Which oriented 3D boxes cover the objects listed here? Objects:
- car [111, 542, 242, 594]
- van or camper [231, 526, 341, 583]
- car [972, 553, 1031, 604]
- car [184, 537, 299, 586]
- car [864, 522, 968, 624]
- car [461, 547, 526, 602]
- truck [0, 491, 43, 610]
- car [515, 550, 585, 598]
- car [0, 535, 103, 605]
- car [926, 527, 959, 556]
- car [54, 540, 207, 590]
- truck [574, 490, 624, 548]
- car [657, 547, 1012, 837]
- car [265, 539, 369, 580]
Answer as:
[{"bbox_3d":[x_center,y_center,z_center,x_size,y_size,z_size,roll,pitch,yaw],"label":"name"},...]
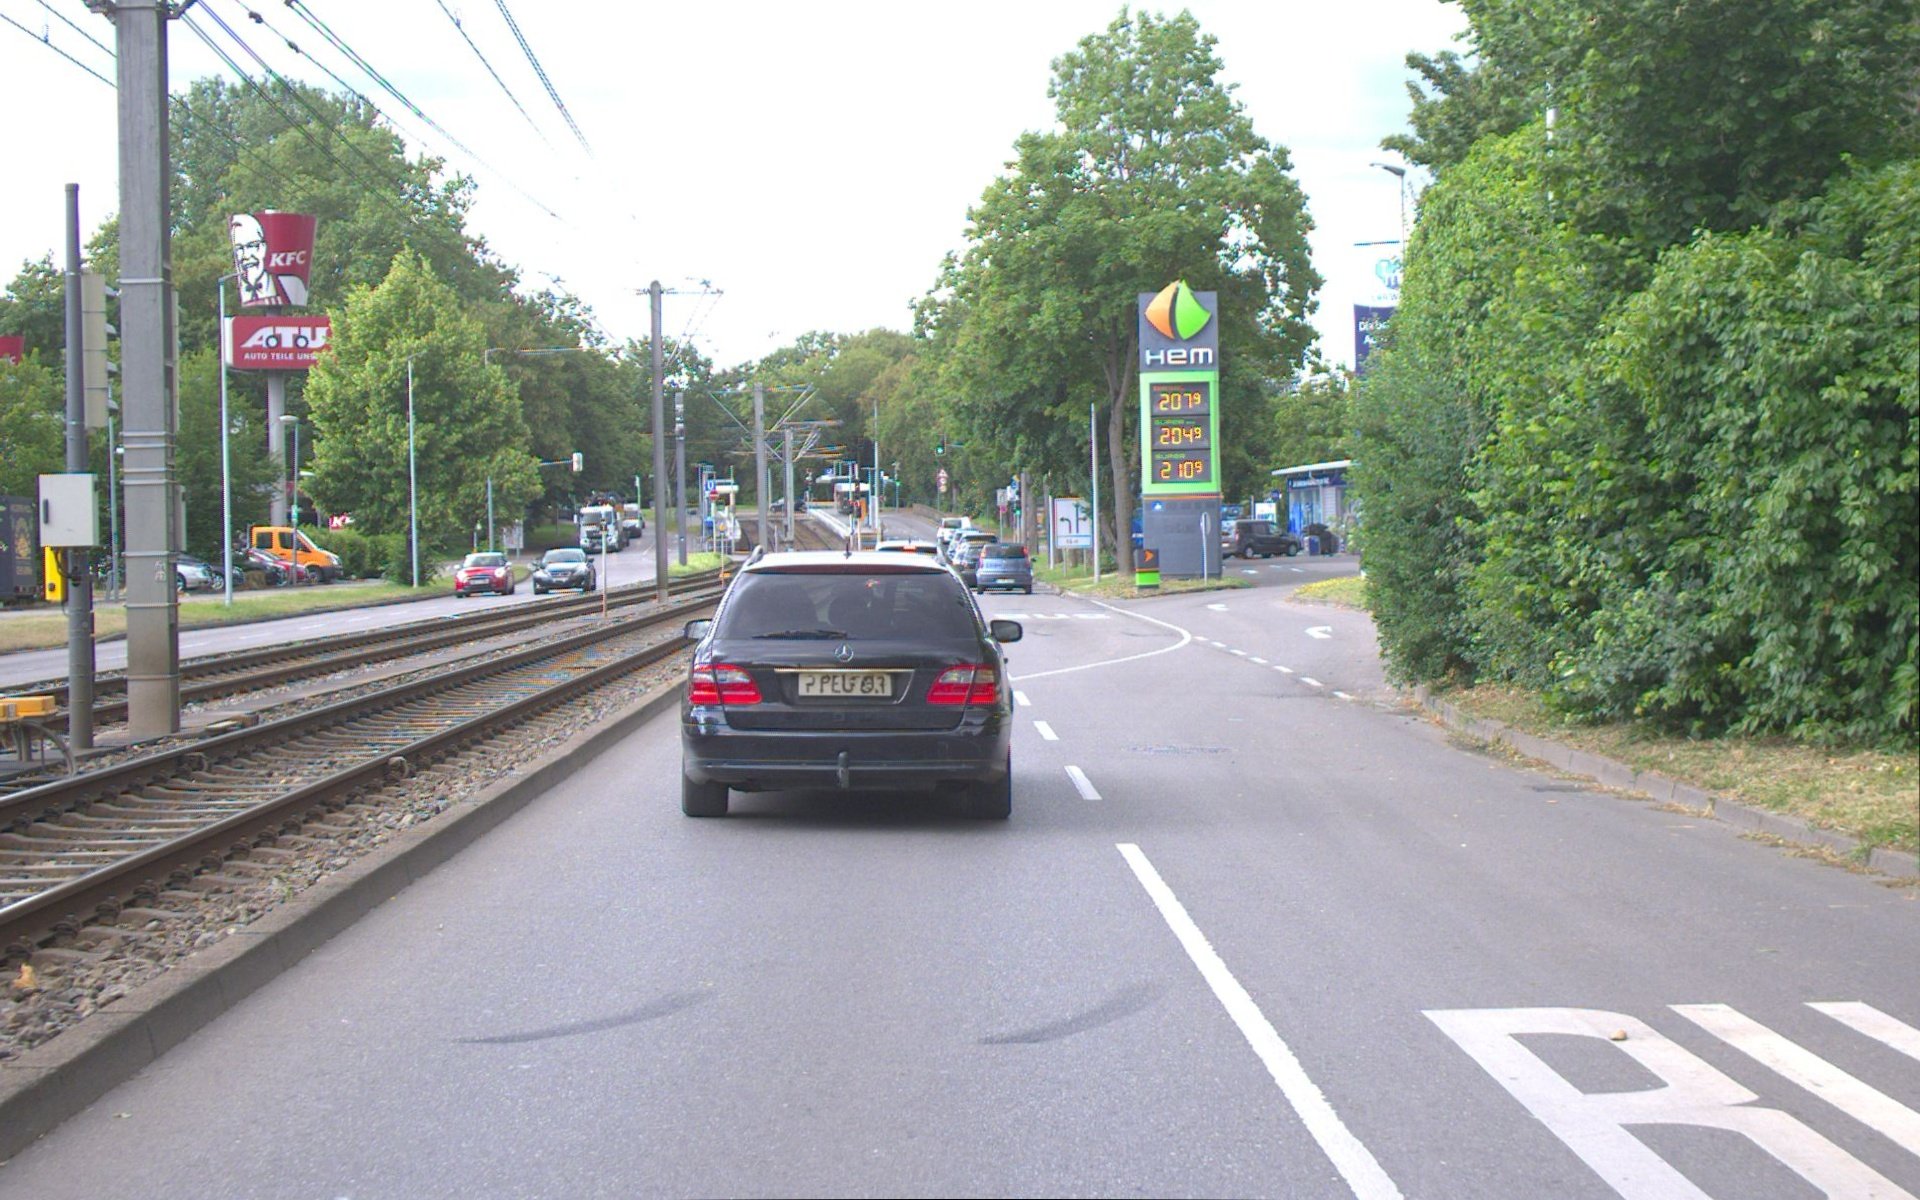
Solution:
[{"bbox_3d":[-26.080,-1.077,114.511,3.986,1.594,1.878,-2,1,-5],"label":"car"},{"bbox_3d":[-25.872,-1.747,132.046,3.986,2.127,1.878,0,1,-5],"label":"van or camper"},{"bbox_3d":[1.181,-0.623,98.994,1.571,1.410,3.354,1,0,-1],"label":"car"},{"bbox_3d":[-26.523,-1.426,126.975,3.986,1.791,1.878,0,1,-5],"label":"car"},{"bbox_3d":[-0.796,-0.486,61.616,1.780,1.744,3.718,1,0,-1],"label":"car"},{"bbox_3d":[-15.630,-0.866,115.369,1.792,1.766,4.001,-1,1,-3],"label":"car"},{"bbox_3d":[-24.400,-1.156,82.785,3.986,2.812,2.376,-1,1,-3],"label":"truck"},{"bbox_3d":[-13.200,-0.847,110.905,1.759,1.396,4.444,-4,1,-2],"label":"car"},{"bbox_3d":[-25.204,-0.794,92.272,3.986,1.791,1.878,-2,1,-5],"label":"car"},{"bbox_3d":[-1.132,-3.721,218.760,1.993,1.831,4.000,1,1,-1],"label":"car"},{"bbox_3d":[-25.494,-1.090,105.740,4.306,1.467,1.681,-1,1,-3],"label":"car"},{"bbox_3d":[-23.821,-5.293,227.169,2.706,3.651,11.114,-2,1,-4],"label":"truck"},{"bbox_3d":[-0.666,0.442,19.512,1.808,1.469,3.881,0,1,-1],"label":"car"},{"bbox_3d":[-26.341,-1.671,140.942,3.986,1.594,1.797,-2,1,-5],"label":"car"}]
